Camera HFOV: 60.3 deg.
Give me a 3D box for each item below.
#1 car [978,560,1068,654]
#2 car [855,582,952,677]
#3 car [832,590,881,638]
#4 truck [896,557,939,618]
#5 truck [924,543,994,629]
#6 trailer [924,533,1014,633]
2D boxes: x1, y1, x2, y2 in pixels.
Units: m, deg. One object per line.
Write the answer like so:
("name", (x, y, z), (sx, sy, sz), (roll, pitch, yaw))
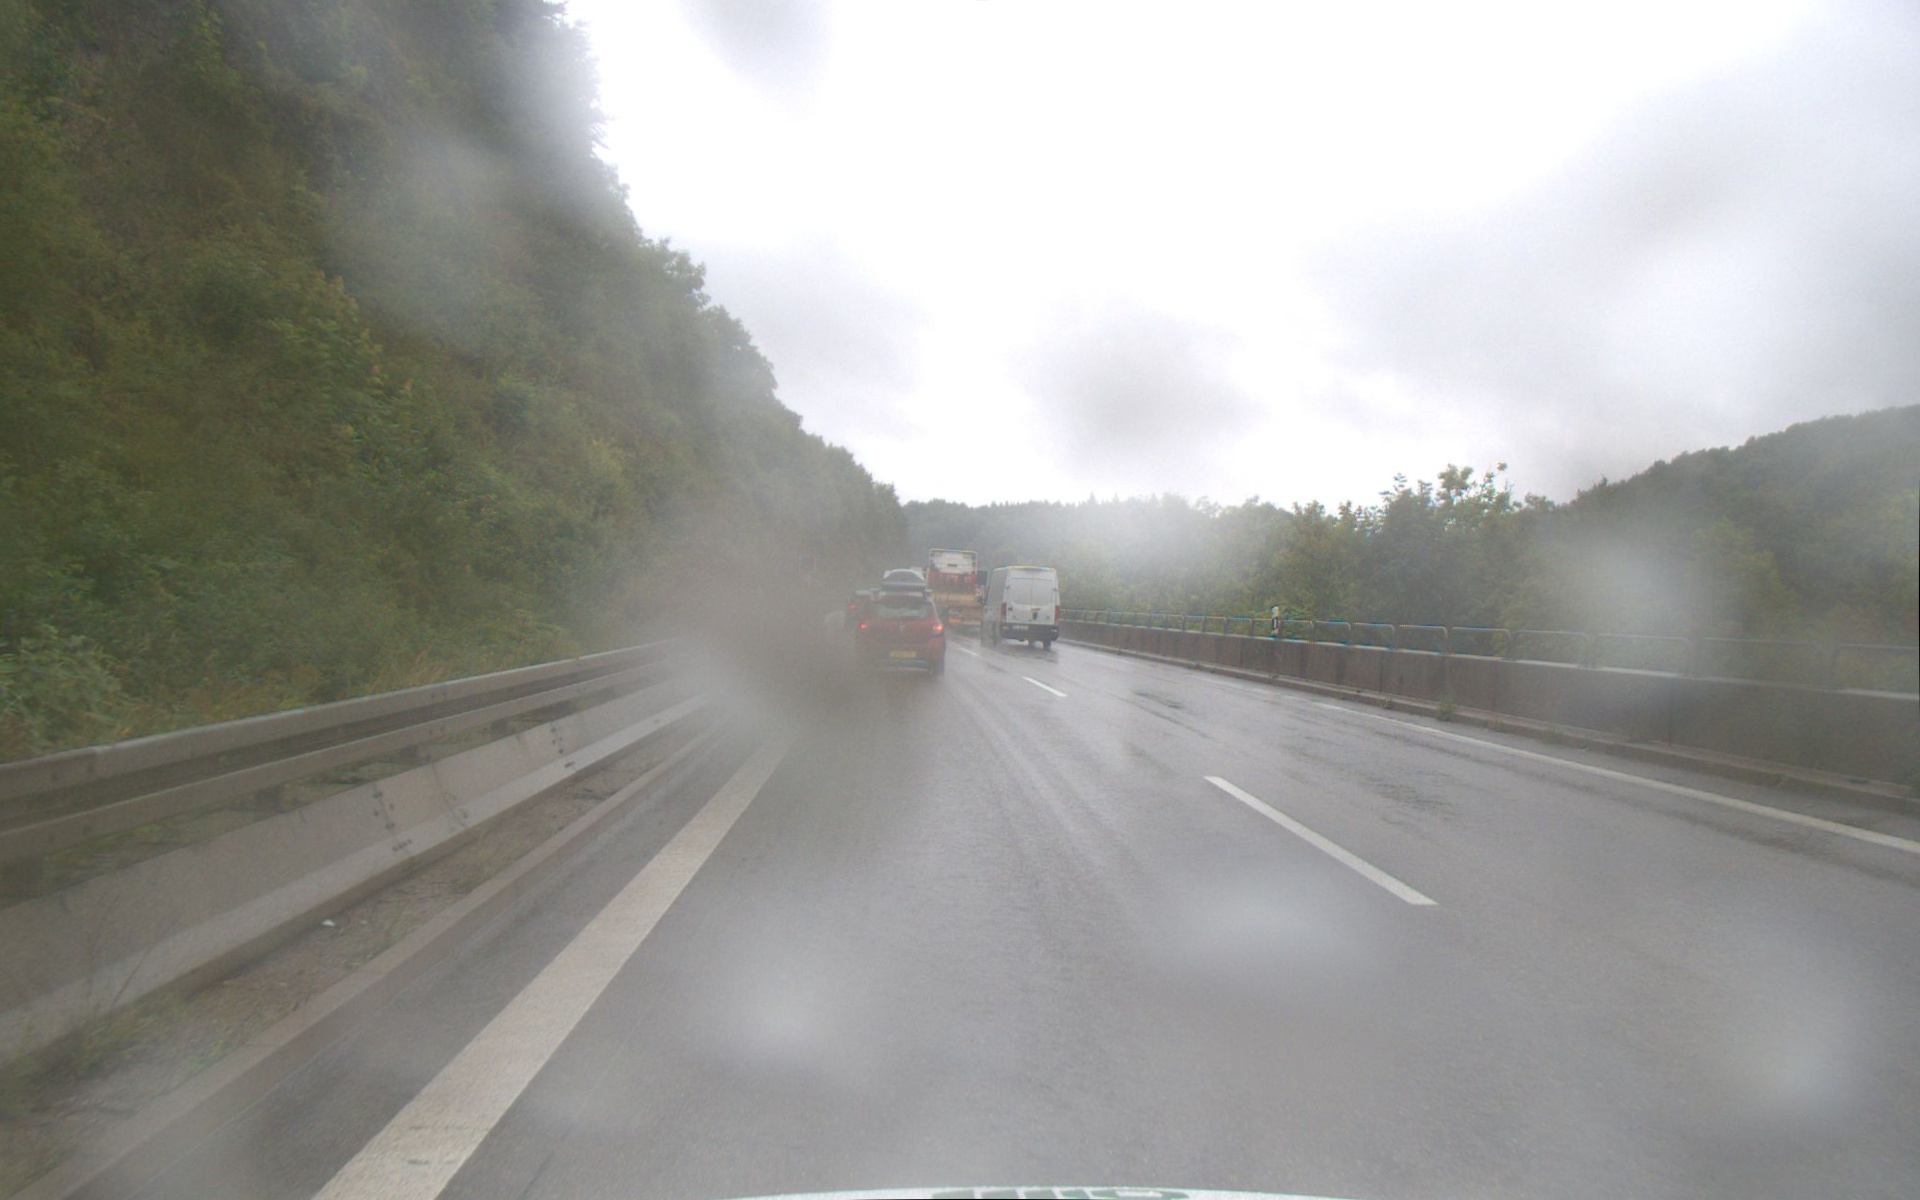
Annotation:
("car", (2.059, 0.228, 56.535), (2.163, 2.842, 7.377), (4, 0, -4))
("car", (-1.157, 0.565, 32.302), (1.723, 1.714, 3.996), (1, -1, -4))
("car", (-3.970, 0.538, 63.618), (1.787, 1.726, 3.997), (1, -1, -4))
("truck", (-3.563, -0.964, 136.494), (3.159, 4.764, 8.293), (1, -1, -4))
("truck", (-0.107, -0.681, 83.954), (3.155, 4.047, 5.435), (3, 0, -3))
("trailer", (0.241, -0.707, 77.283), (3.155, 4.068, 13.514), (3, 0, -3))
